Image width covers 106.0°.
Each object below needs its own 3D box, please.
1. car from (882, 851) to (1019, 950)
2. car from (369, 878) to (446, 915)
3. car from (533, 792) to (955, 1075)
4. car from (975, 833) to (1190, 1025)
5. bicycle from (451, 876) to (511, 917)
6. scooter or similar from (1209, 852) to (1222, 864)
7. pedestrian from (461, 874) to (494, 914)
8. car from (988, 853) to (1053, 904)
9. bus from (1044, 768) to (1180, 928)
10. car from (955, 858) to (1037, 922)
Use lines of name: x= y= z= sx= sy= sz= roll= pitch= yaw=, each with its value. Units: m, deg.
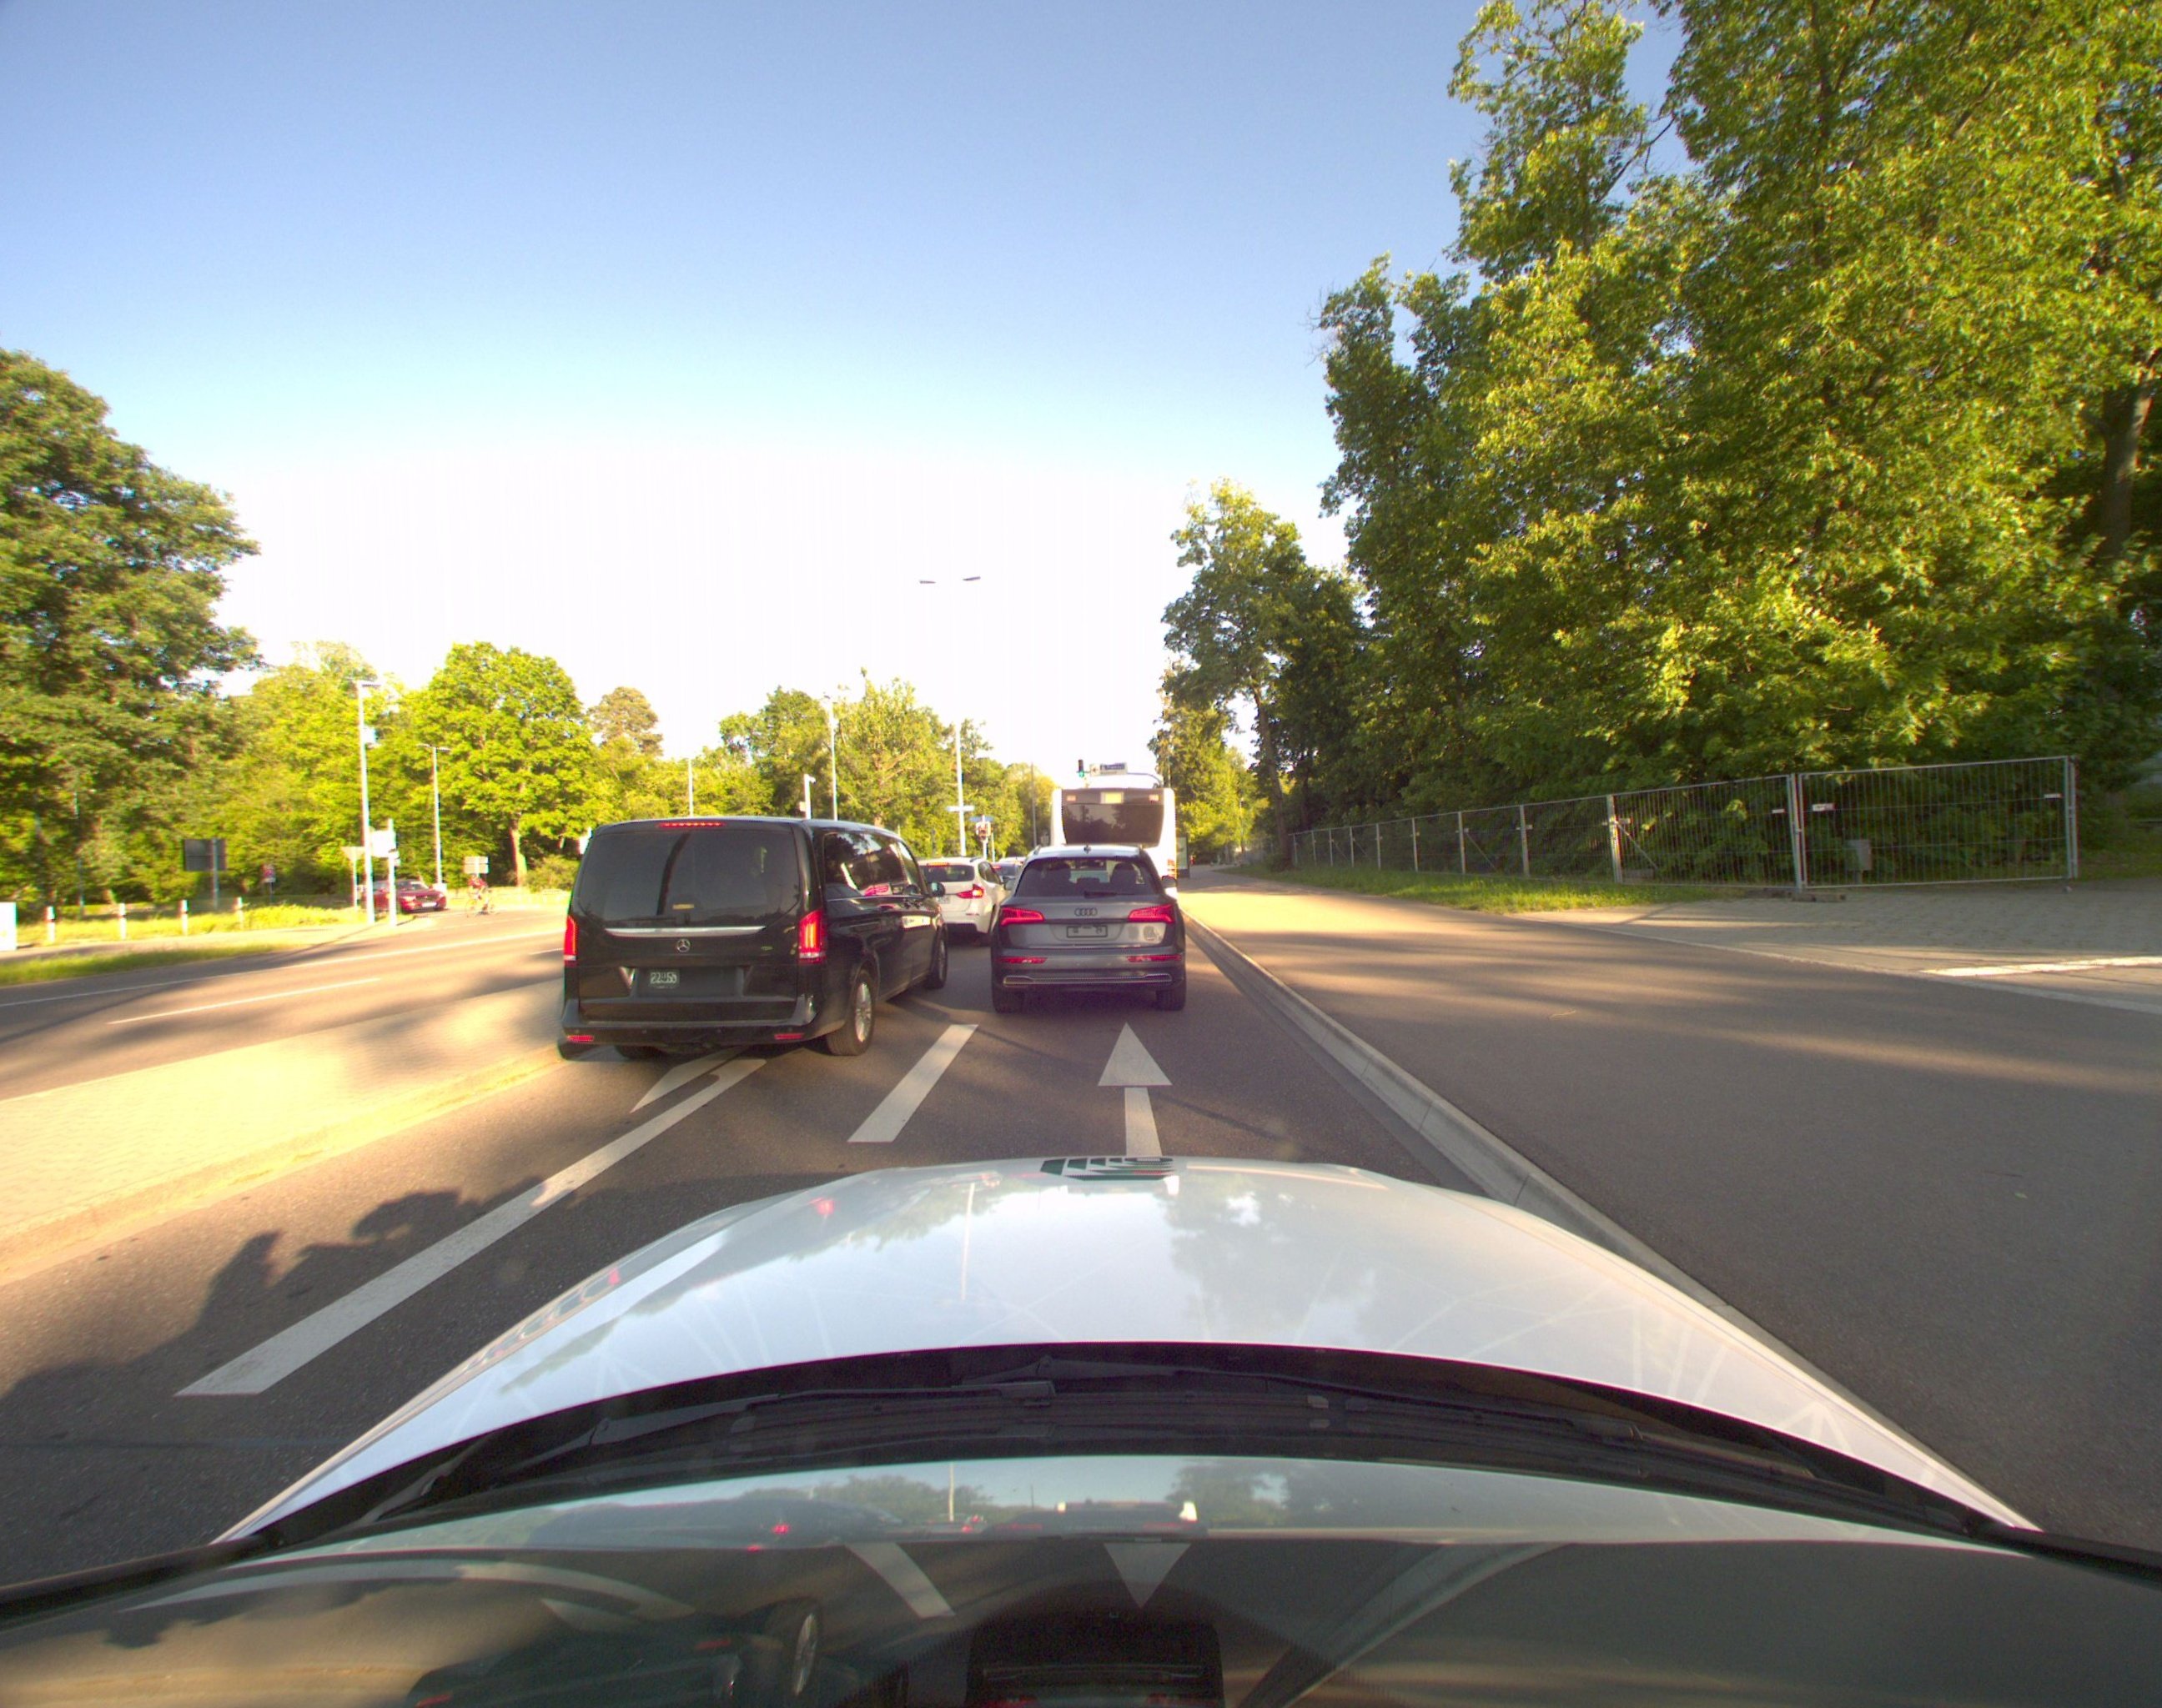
car: x=-2.273 y=0.753 z=15.346 sx=1.712 sy=1.581 sz=4.436 roll=0 pitch=0 yaw=2
car: x=-31.928 y=1.973 z=38.601 sx=3.948 sy=1.618 sz=2.013 roll=-1 pitch=-1 yaw=38
car: x=-2.606 y=0.543 z=7.811 sx=1.900 sy=1.856 sz=4.874 roll=0 pitch=0 yaw=1
car: x=0.074 y=0.636 z=9.099 sx=1.861 sy=1.663 sz=4.002 roll=0 pitch=0 yaw=2
bicycle: x=-23.590 y=1.651 z=32.062 sx=0.747 sy=1.551 sz=2.024 roll=0 pitch=-1 yaw=5
scooter or similar: x=12.823 y=0.363 z=77.774 sx=1.175 sy=1.174 sz=0.661 roll=0 pitch=0 yaw=13
pedestrian: x=-23.591 y=1.559 z=31.838 sx=0.736 sy=1.544 sz=0.674 roll=0 pitch=-1 yaw=4
car: x=-1.998 y=0.790 z=27.904 sx=1.801 sy=1.572 sz=4.002 roll=0 pitch=0 yaw=2
bus: x=0.776 y=-0.141 z=19.017 sx=2.667 sy=3.142 sz=5.887 roll=0 pitch=0 yaw=3
car: x=-2.136 y=0.861 z=21.484 sx=1.780 sy=1.444 sz=4.275 roll=0 pitch=0 yaw=-1
